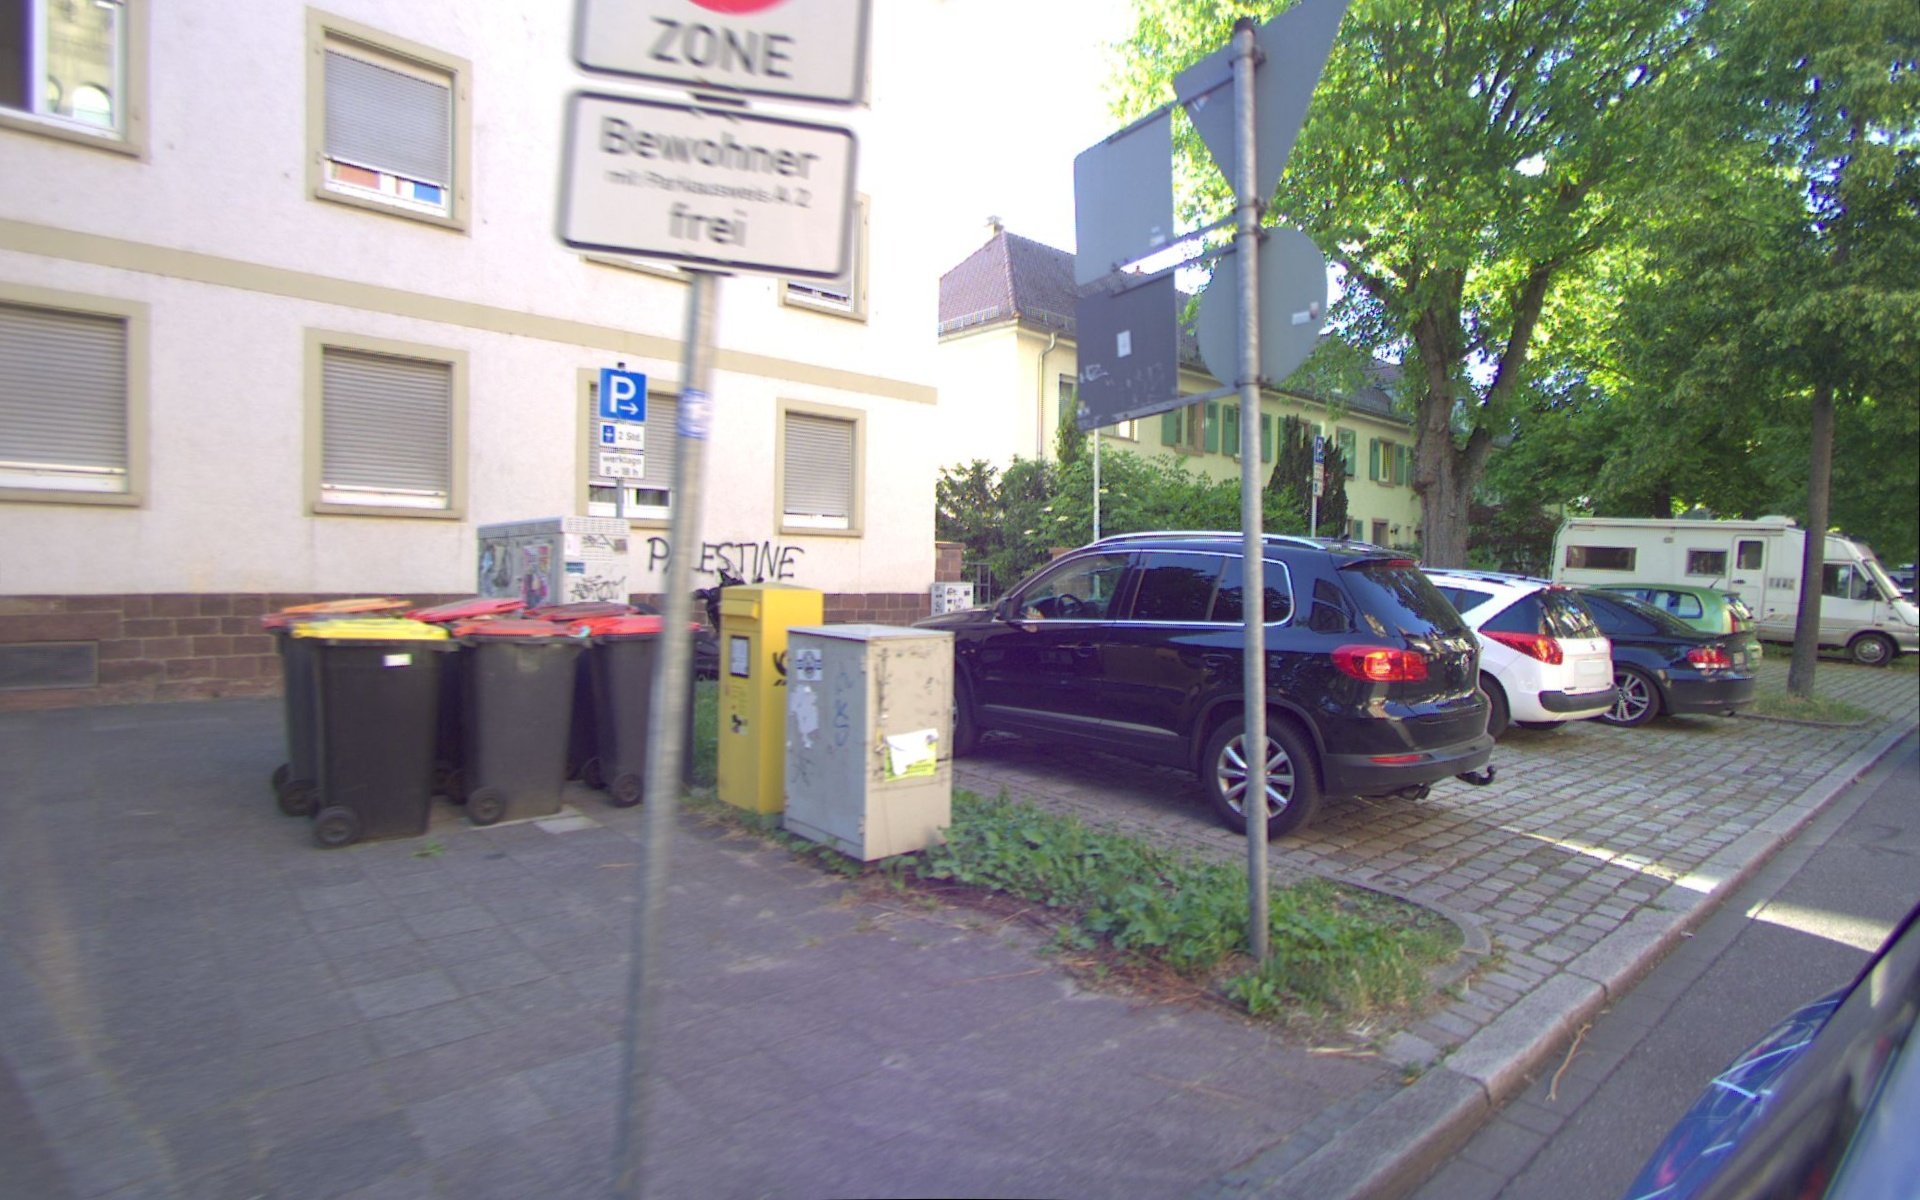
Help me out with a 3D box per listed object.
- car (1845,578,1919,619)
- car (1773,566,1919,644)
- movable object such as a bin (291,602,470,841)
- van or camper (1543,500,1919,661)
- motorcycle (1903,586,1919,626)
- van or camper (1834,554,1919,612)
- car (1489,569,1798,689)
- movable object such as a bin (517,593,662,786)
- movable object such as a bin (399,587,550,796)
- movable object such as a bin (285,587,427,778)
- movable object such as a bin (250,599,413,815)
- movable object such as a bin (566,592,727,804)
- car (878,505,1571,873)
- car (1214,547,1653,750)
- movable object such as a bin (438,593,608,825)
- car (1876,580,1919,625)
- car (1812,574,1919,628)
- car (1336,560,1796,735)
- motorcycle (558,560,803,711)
[{"bbox_3d":[37.961,-0.005,39.789,1.722,1.495,4.469,0,4,-40],"label":"car"},{"bbox_3d":[23.778,0.112,26.215,1.699,1.765,3.923,-1,5,-41],"label":"car"},{"bbox_3d":[-2.953,0.564,5.151,0.682,1.077,0.658,0,2,-41],"label":"movable object such as a bin"},{"bbox_3d":[17.334,-0.494,22.569,2.424,3.115,7.084,0,2,-43],"label":"van or camper"},{"bbox_3d":[29.869,0.197,30.793,0.725,1.212,1.775,1,2,4],"label":"motorcycle"},{"bbox_3d":[50.109,-0.899,52.210,2.386,2.939,7.262,-2,3,-41],"label":"van or camper"},{"bbox_3d":[10.392,0.353,15.578,1.648,1.524,3.597,1,3,-40],"label":"car"},{"bbox_3d":[-2.474,0.551,6.745,0.689,1.167,0.739,0,2,-41],"label":"movable object such as a bin"},{"bbox_3d":[-2.973,0.513,6.194,0.689,1.167,0.633,0,2,-41],"label":"movable object such as a bin"},{"bbox_3d":[-3.790,0.476,6.345,0.662,1.097,0.592,0,2,-42],"label":"movable object such as a bin"},{"bbox_3d":[-3.531,0.550,5.681,0.693,1.089,0.630,0,2,-41],"label":"movable object such as a bin"},{"bbox_3d":[-1.919,0.547,6.184,0.703,1.167,0.739,0,2,-41],"label":"movable object such as a bin"},{"bbox_3d":[1.547,0.311,6.920,4.109,1.734,1.991,4,3,45],"label":"car"},{"bbox_3d":[4.607,0.336,10.320,1.672,1.671,3.705,0,2,-36],"label":"car"},{"bbox_3d":[-2.462,0.555,5.687,0.689,1.167,0.739,0,2,-41],"label":"movable object such as a bin"},{"bbox_3d":[33.925,0.129,34.758,1.664,1.493,3.455,-1,4,-41],"label":"car"},{"bbox_3d":[31.379,0.035,33.717,1.895,1.627,4.341,-1,4,-42],"label":"car"},{"bbox_3d":[6.698,0.378,11.573,1.761,1.428,4.115,0,5,-41],"label":"car"},{"bbox_3d":[-2.688,0.282,9.939,0.974,1.296,2.151,3,2,40],"label":"motorcycle"}]
